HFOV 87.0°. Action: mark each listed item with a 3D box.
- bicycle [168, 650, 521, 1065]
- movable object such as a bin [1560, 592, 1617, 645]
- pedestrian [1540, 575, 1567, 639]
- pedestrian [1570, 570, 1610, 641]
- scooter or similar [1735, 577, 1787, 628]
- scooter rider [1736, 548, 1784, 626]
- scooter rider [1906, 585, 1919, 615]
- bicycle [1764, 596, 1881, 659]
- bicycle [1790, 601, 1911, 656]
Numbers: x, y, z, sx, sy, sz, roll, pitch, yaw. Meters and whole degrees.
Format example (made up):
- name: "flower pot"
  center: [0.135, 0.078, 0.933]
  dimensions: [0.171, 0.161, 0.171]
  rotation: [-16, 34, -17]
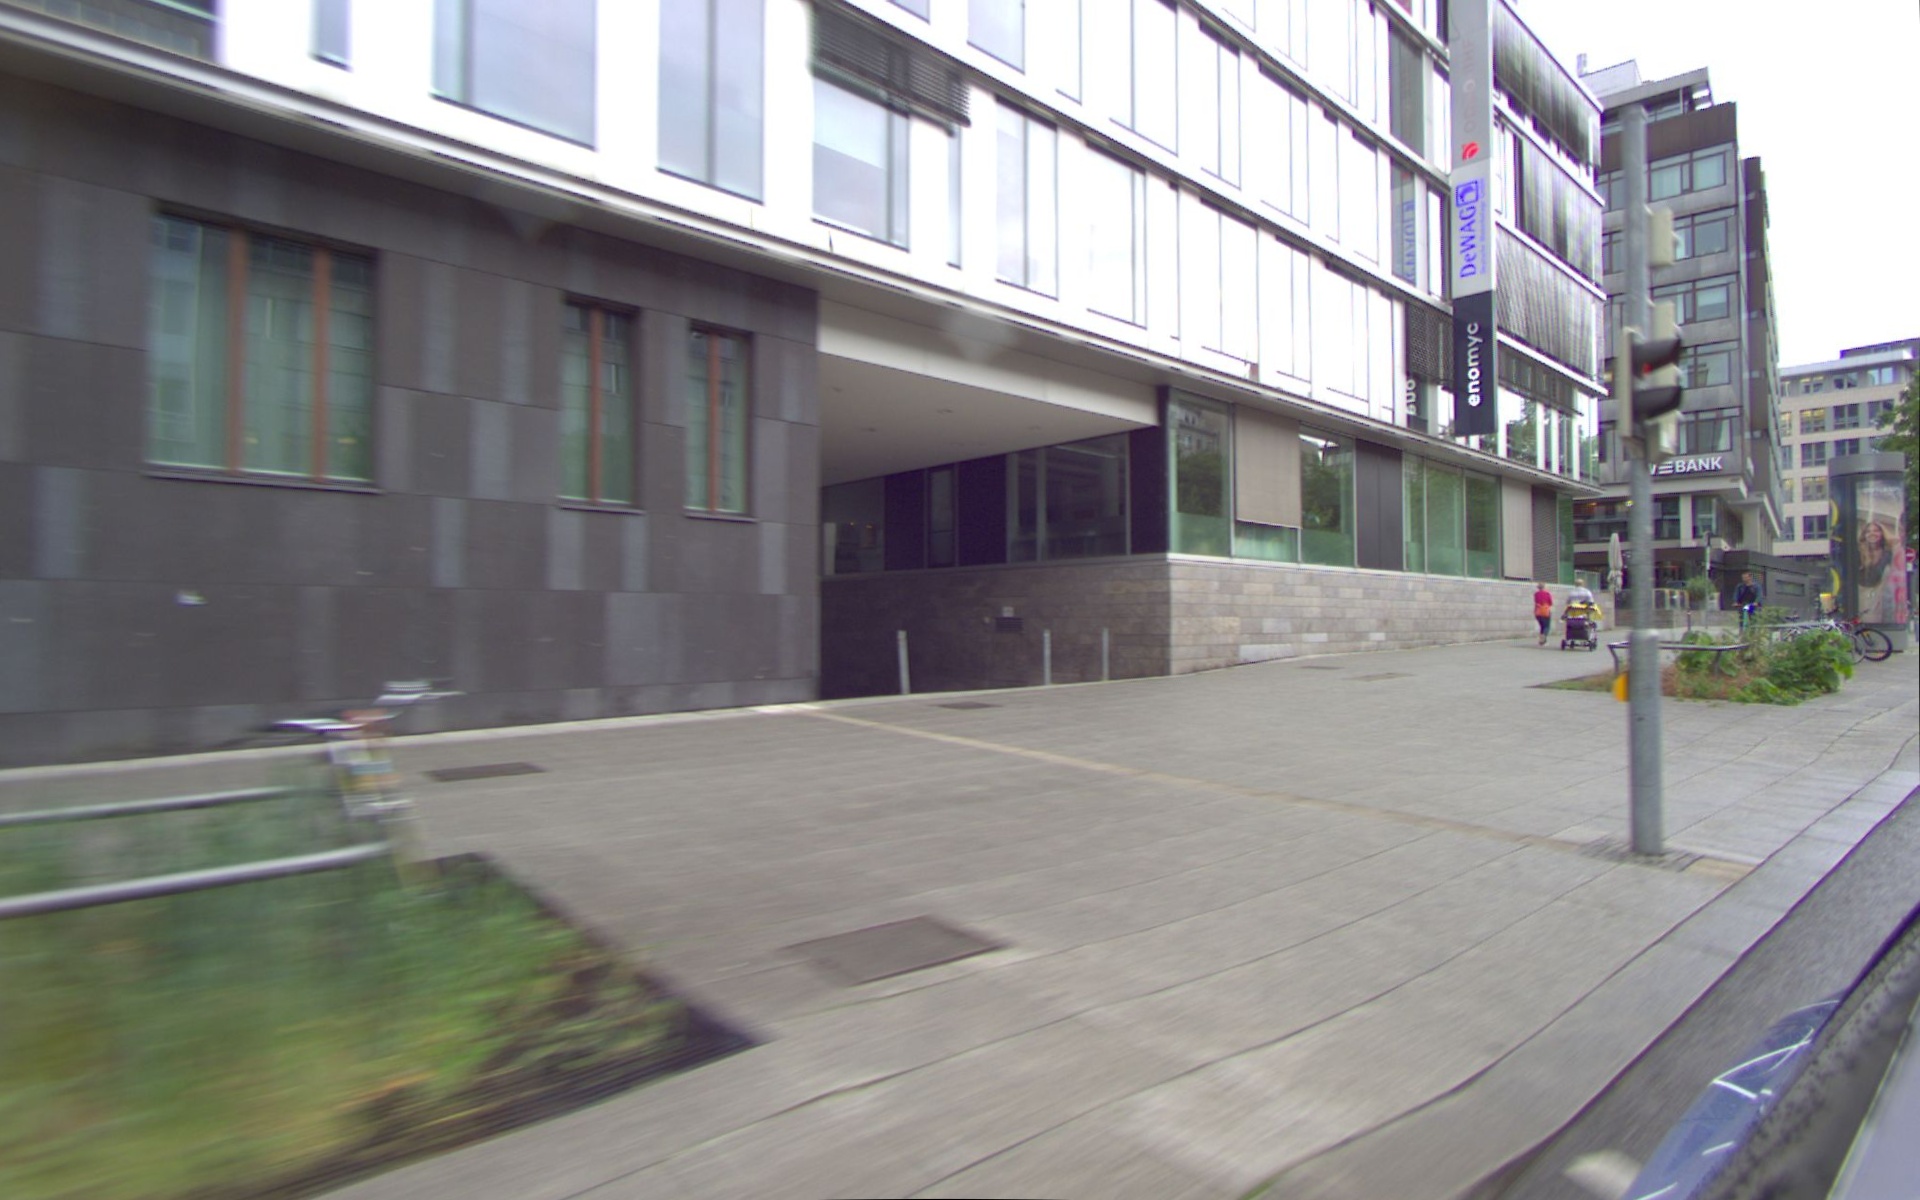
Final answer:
- name: "bicycle"
  center: [-2.318, 0.771, 3.714]
  dimensions: [1.729, 1.083, 0.678]
  rotation: [0, 0, 43]
- name: "movable object such as a bin"
  center: [15.915, 0.449, 25.615]
  dimensions: [1.758, 1.281, 0.803]
  rotation: [-1, 1, -43]
- name: "pedestrian"
  center: [16.022, 0.179, 27.330]
  dimensions: [0.569, 1.720, 0.484]
  rotation: [0, 0, -43]
- name: "pedestrian"
  center: [16.618, 0.133, 26.705]
  dimensions: [0.734, 1.853, 0.722]
  rotation: [0, 1, -43]
- name: "scooter or similar"
  center: [21.331, 0.062, 26.958]
  dimensions: [1.310, 1.322, 0.780]
  rotation: [0, -1, -38]
- name: "scooter rider"
  center: [21.316, -0.343, 26.957]
  dimensions: [0.907, 2.047, 0.780]
  rotation: [0, -1, -38]
- name: "scooter rider"
  center: [65.457, 0.026, 69.506]
  dimensions: [0.840, 2.051, 0.626]
  rotation: [0, -1, -43]
- name: "bicycle"
  center: [17.564, 0.529, 20.629]
  dimensions: [1.791, 1.222, 0.659]
  rotation: [1, 0, 43]
- name: "bicycle"
  center: [19.063, 0.585, 21.692]
  dimensions: [0.658, 1.124, 1.875]
  rotation: [0, 0, -40]
